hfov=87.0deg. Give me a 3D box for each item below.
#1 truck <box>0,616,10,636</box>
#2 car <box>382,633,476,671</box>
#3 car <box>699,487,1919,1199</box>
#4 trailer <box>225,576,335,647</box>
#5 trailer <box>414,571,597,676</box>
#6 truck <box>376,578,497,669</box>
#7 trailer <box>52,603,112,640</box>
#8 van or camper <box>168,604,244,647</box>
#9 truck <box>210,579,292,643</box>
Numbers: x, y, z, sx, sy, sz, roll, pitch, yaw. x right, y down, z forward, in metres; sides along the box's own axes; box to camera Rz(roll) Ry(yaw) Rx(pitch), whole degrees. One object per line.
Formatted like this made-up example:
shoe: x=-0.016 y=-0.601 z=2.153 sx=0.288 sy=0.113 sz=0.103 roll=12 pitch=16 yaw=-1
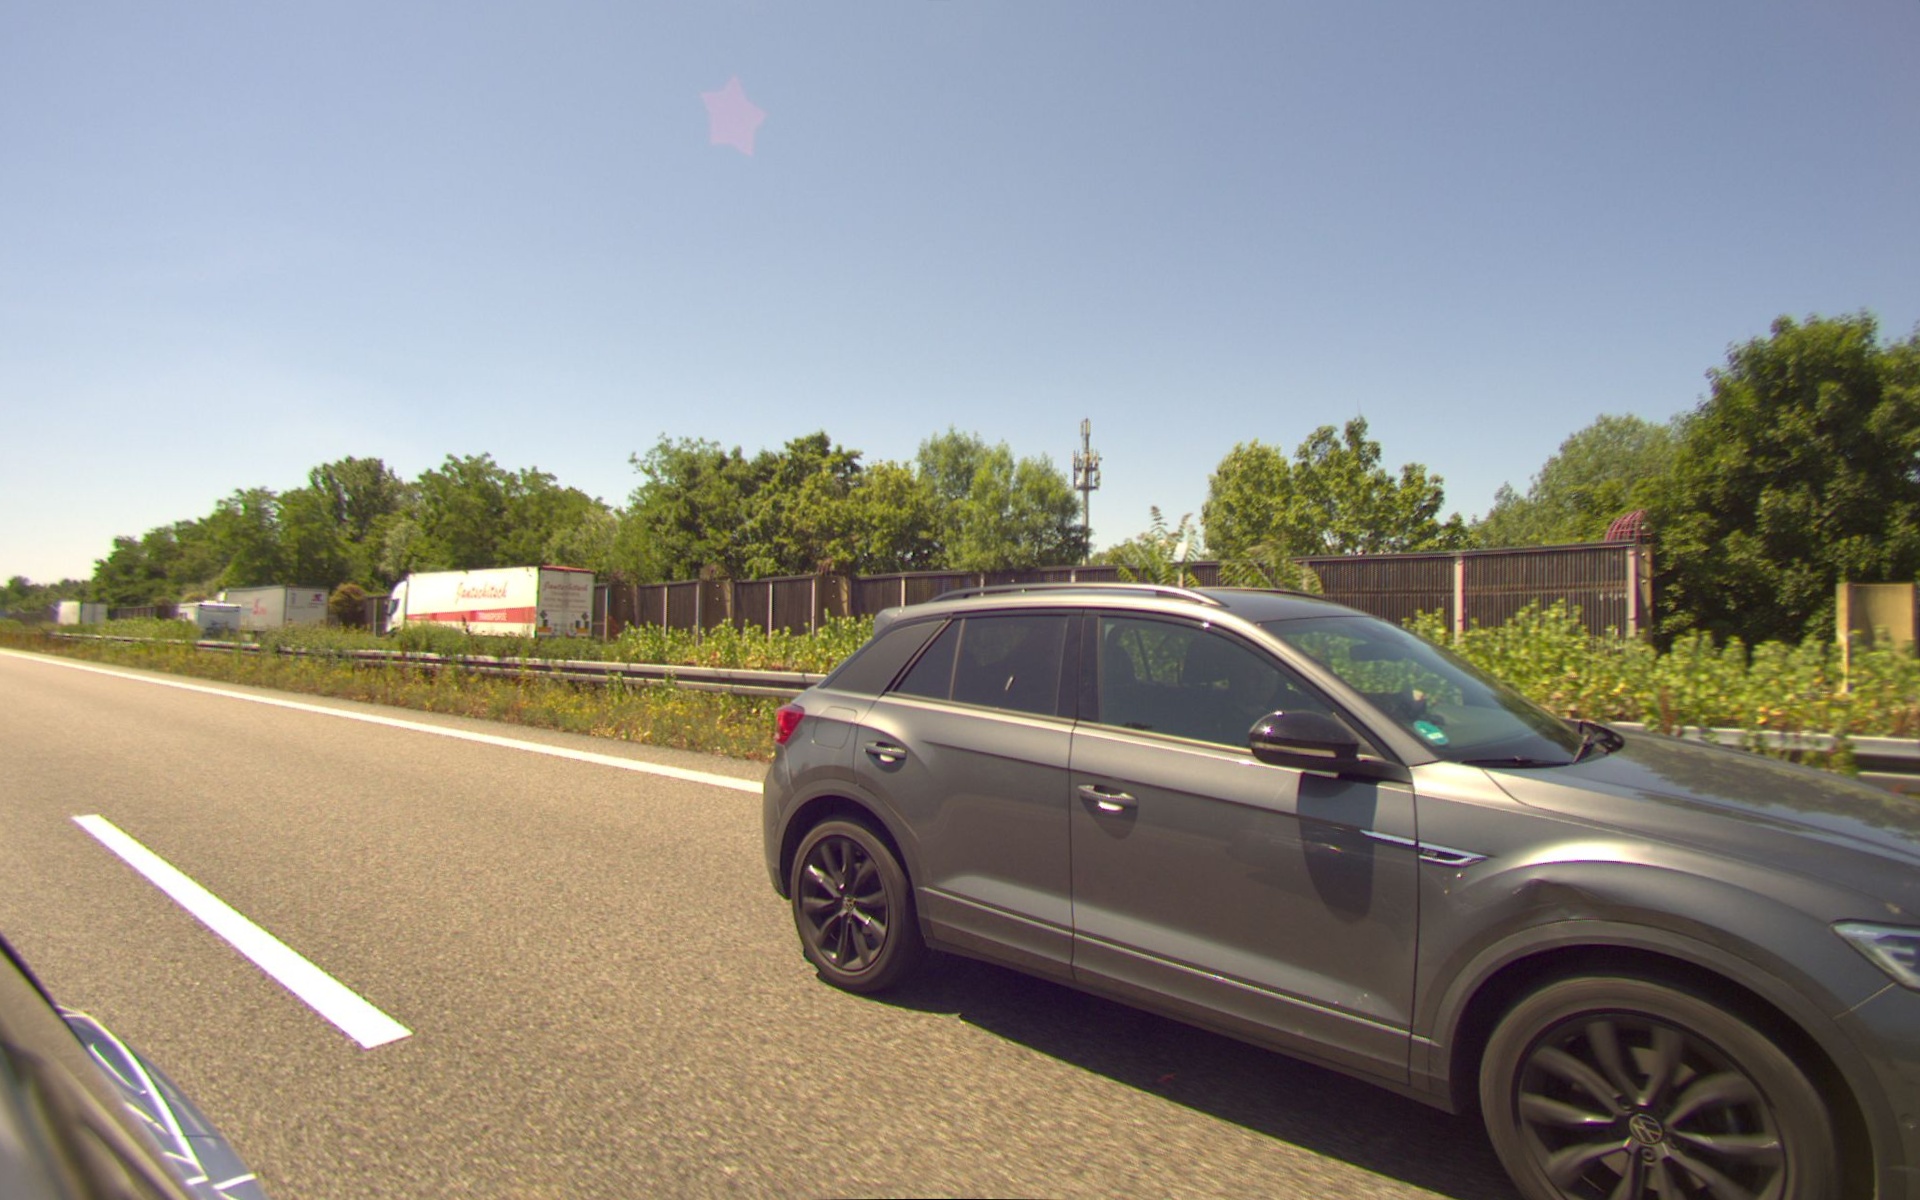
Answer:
truck: x=-173.538 y=4.728 z=181.721 sx=16.998 sy=3.367 sz=2.807 roll=-2 pitch=-2 yaw=42
car: x=-21.636 y=2.072 z=41.190 sx=4.205 sy=1.430 sz=1.880 roll=-1 pitch=-1 yaw=39
car: x=1.420 y=0.678 z=3.315 sx=5.004 sy=1.652 sz=1.861 roll=-3 pitch=-3 yaw=40
trailer: x=-46.811 y=0.865 z=69.441 sx=12.948 sy=4.512 sz=3.133 roll=-1 pitch=-2 yaw=42
trailer: x=-20.779 y=1.091 z=45.658 sx=12.217 sy=4.205 sz=2.812 roll=-2 pitch=-2 yaw=42
truck: x=-26.156 y=1.189 z=50.425 sx=7.712 sy=4.239 sz=2.812 roll=-2 pitch=-2 yaw=42
trailer: x=-103.048 y=2.555 z=118.649 sx=12.791 sy=4.135 sz=3.572 roll=-2 pitch=-3 yaw=42
van or camper: x=-47.980 y=1.632 z=64.318 sx=7.408 sy=2.596 sz=2.439 roll=-1 pitch=-2 yaw=42
truck: x=-51.917 y=0.853 z=74.028 sx=7.867 sy=4.473 sz=3.183 roll=-1 pitch=-2 yaw=42
